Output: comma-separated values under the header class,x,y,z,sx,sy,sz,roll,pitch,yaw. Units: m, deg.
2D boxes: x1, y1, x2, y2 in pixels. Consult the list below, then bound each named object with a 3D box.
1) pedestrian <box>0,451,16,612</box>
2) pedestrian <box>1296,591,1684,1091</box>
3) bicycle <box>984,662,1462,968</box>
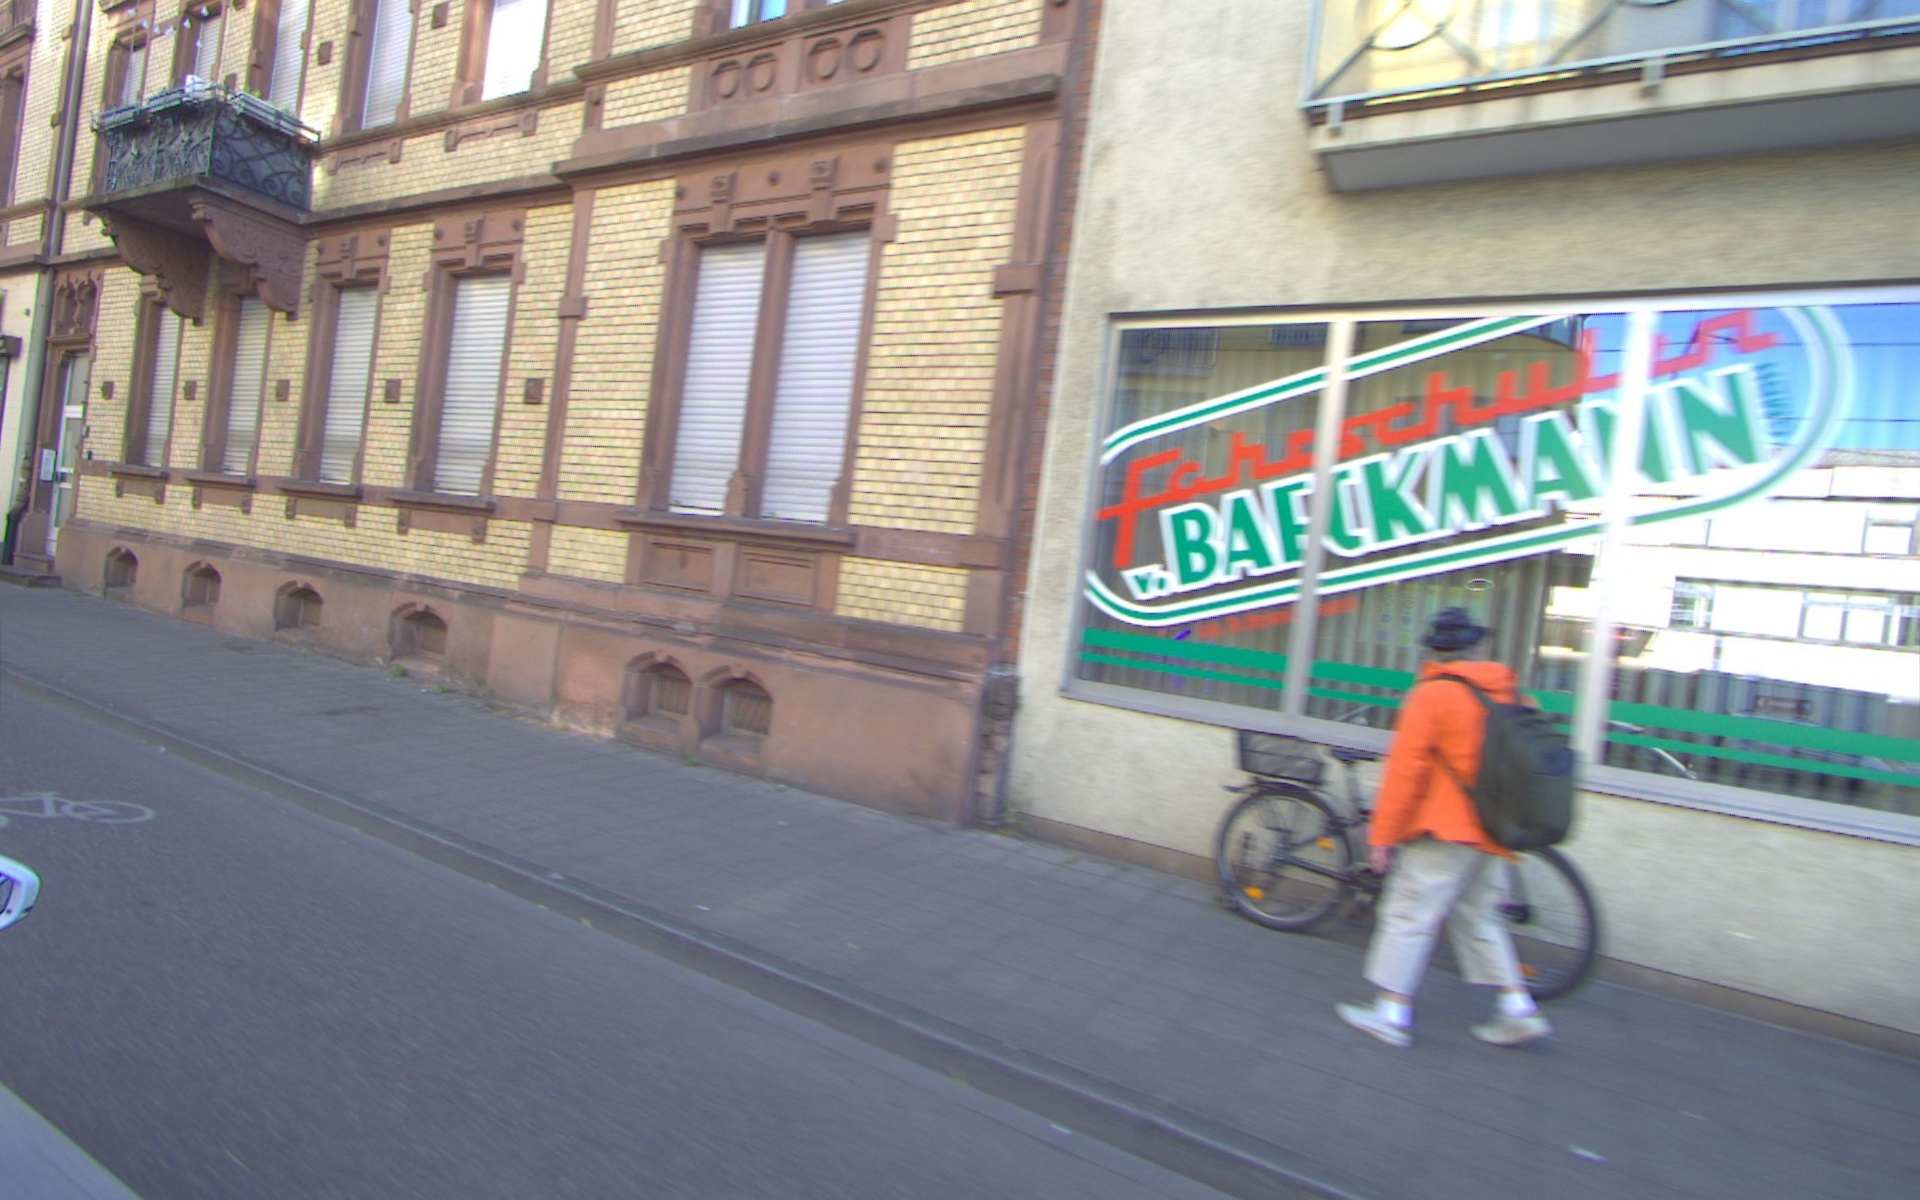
class,x,y,z,sx,sy,sz,roll,pitch,yaw
pedestrian,-11.492,-0.835,11.400,1.073,1.824,0.806,8,3,29
pedestrian,1.938,0.844,3.821,0.787,1.651,0.822,4,4,-11
bicycle,1.298,1.008,5.296,2.272,1.074,0.555,7,1,31
